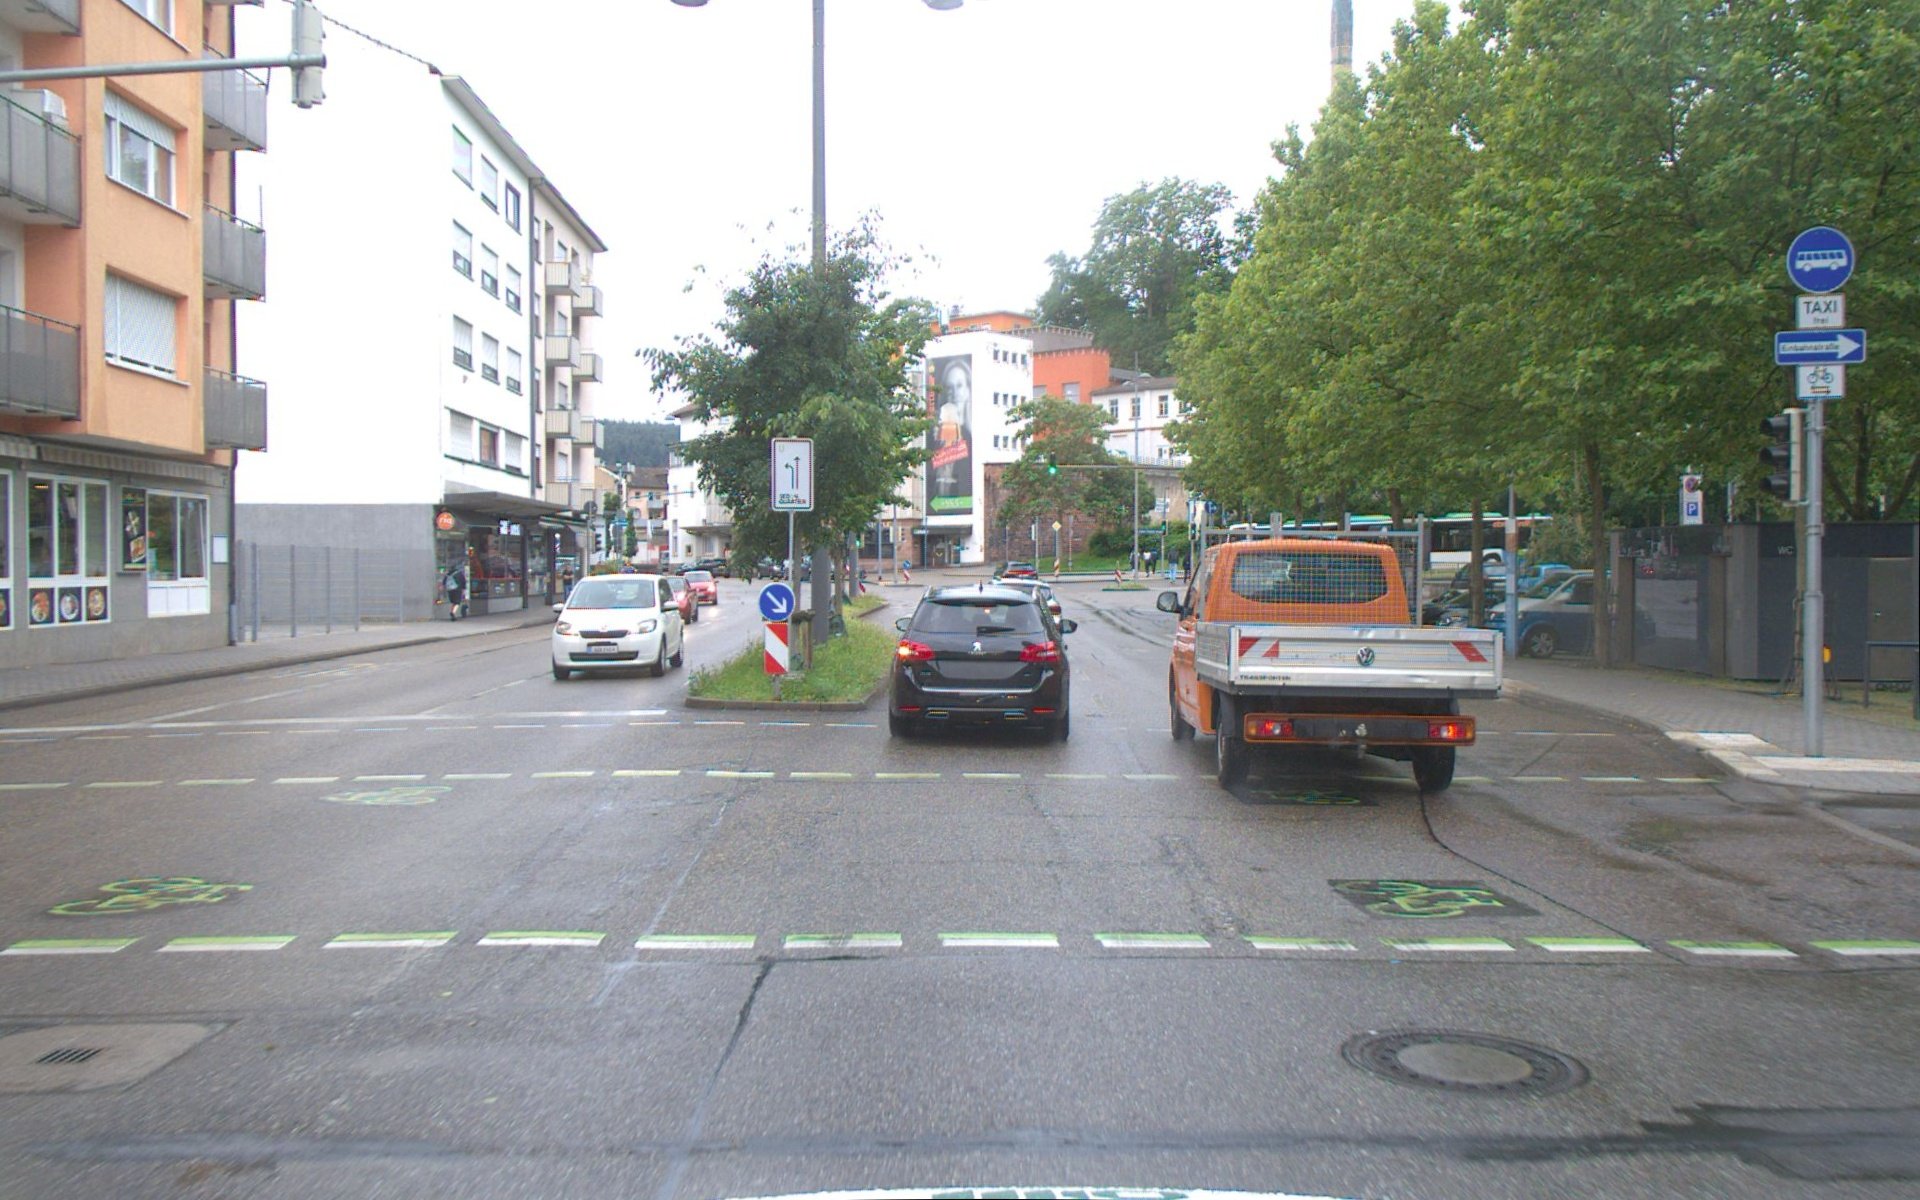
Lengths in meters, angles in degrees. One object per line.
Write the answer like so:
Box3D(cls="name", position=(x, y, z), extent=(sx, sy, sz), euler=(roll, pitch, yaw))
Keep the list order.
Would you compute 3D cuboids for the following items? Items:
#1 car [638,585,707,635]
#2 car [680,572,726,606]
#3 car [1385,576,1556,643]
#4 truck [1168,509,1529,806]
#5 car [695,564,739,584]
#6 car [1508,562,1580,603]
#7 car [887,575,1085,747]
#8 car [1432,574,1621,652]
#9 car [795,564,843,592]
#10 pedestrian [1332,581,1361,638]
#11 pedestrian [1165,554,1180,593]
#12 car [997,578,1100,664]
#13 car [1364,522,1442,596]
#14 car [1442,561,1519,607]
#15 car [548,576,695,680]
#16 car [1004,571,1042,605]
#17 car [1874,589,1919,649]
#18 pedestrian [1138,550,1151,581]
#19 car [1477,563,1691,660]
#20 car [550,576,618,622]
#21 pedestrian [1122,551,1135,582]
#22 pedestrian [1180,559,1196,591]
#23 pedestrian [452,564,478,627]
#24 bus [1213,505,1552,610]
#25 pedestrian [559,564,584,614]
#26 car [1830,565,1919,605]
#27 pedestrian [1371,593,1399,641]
Box3D(cls="car", position=(-8.871, 0.274, 51.237), extent=(1.632, 1.424, 3.874), euler=(-1, 1, -3))
Box3D(cls="car", position=(-11.271, -0.492, 72.633), extent=(1.657, 1.426, 3.659), euler=(0, 1, -3))
Box3D(cls="car", position=(13.356, 0.228, 43.439), extent=(3.905, 1.535, 1.743), euler=(3, 1, 0))
Box3D(cls="truck", position=(3.046, 0.368, 14.070), extent=(2.078, 2.060, 4.717), euler=(1, 1, 2))
Box3D(cls="car", position=(-18.949, -2.052, 128.900), extent=(1.588, 1.536, 3.541), euler=(0, 1, -45))
Box3D(cls="car", position=(24.648, -0.746, 69.894), extent=(1.647, 1.646, 3.649), euler=(1, 1, -2))
Box3D(cls="car", position=(0.241, 0.545, 16.985), extent=(1.758, 1.509, 4.000), euler=(2, 0, 0))
Box3D(cls="car", position=(13.808, 0.291, 40.478), extent=(3.905, 1.678, 1.917), euler=(3, 1, 0))
Box3D(cls="car", position=(-8.612, -1.318, 100.518), extent=(1.625, 1.591, 3.568), euler=(3, -2, -27))
Box3D(cls="pedestrian", position=(11.784, 0.288, 50.387), extent=(0.709, 1.729, 0.623), euler=(1, 0, -1))
Box3D(cls="pedestrian", position=(11.271, -1.392, 87.660), extent=(0.703, 2.027, 0.563), euler=(-1, 2, -4))
Box3D(cls="car", position=(1.614, 0.353, 31.347), extent=(1.758, 1.509, 4.001), euler=(0, 1, 0))
Box3D(cls="car", position=(18.841, -1.705, 70.498), extent=(2.031, 3.022, 4.226), euler=(1, 1, -2))
Box3D(cls="car", position=(22.044, -0.665, 70.161), extent=(1.793, 1.857, 4.226), euler=(1, 1, -2))
Box3D(cls="car", position=(-5.093, 0.367, 25.245), extent=(1.621, 1.475, 3.542), euler=(0, 1, -2))
Box3D(cls="car", position=(3.272, -0.613, 86.988), extent=(1.612, 1.591, 3.597), euler=(3, -1, -3))
Box3D(cls="car", position=(24.436, 0.473, 40.740), extent=(1.635, 1.458, 4.000), euler=(0, 1, 0))
Box3D(cls="pedestrian", position=(10.207, -1.913, 91.662), extent=(0.627, 1.693, 0.563), euler=(-1, 2, -4))
Box3D(cls="car", position=(13.562, 0.227, 36.129), extent=(3.905, 1.958, 1.970), euler=(2, 1, 0))
Box3D(cls="car", position=(-13.186, -0.056, 58.206), extent=(1.742, 1.551, 3.659), euler=(0, 1, -3))
Box3D(cls="pedestrian", position=(9.346, -1.833, 91.595), extent=(0.627, 1.693, 0.563), euler=(-1, 2, -4))
Box3D(cls="pedestrian", position=(12.153, -1.336, 88.197), extent=(0.703, 1.693, 0.563), euler=(-1, 2, -4))
Box3D(cls="pedestrian", position=(-15.192, -0.140, 50.772), extent=(0.627, 1.893, 0.523), euler=(1, 1, -5))
Box3D(cls="bus", position=(22.724, -2.276, 89.599), extent=(17.551, 5.302, 3.099), euler=(1, 0, 0))
Box3D(cls="pedestrian", position=(-16.213, -0.446, 69.009), extent=(0.720, 2.049, 0.649), euler=(4, -2, -36))
Box3D(cls="car", position=(37.713, -0.635, 68.254), extent=(1.598, 1.595, 3.607), euler=(0, 1, -2))
Box3D(cls="pedestrian", position=(12.662, 0.500, 49.280), extent=(0.608, 1.381, 0.726), euler=(1, 0, -1))
